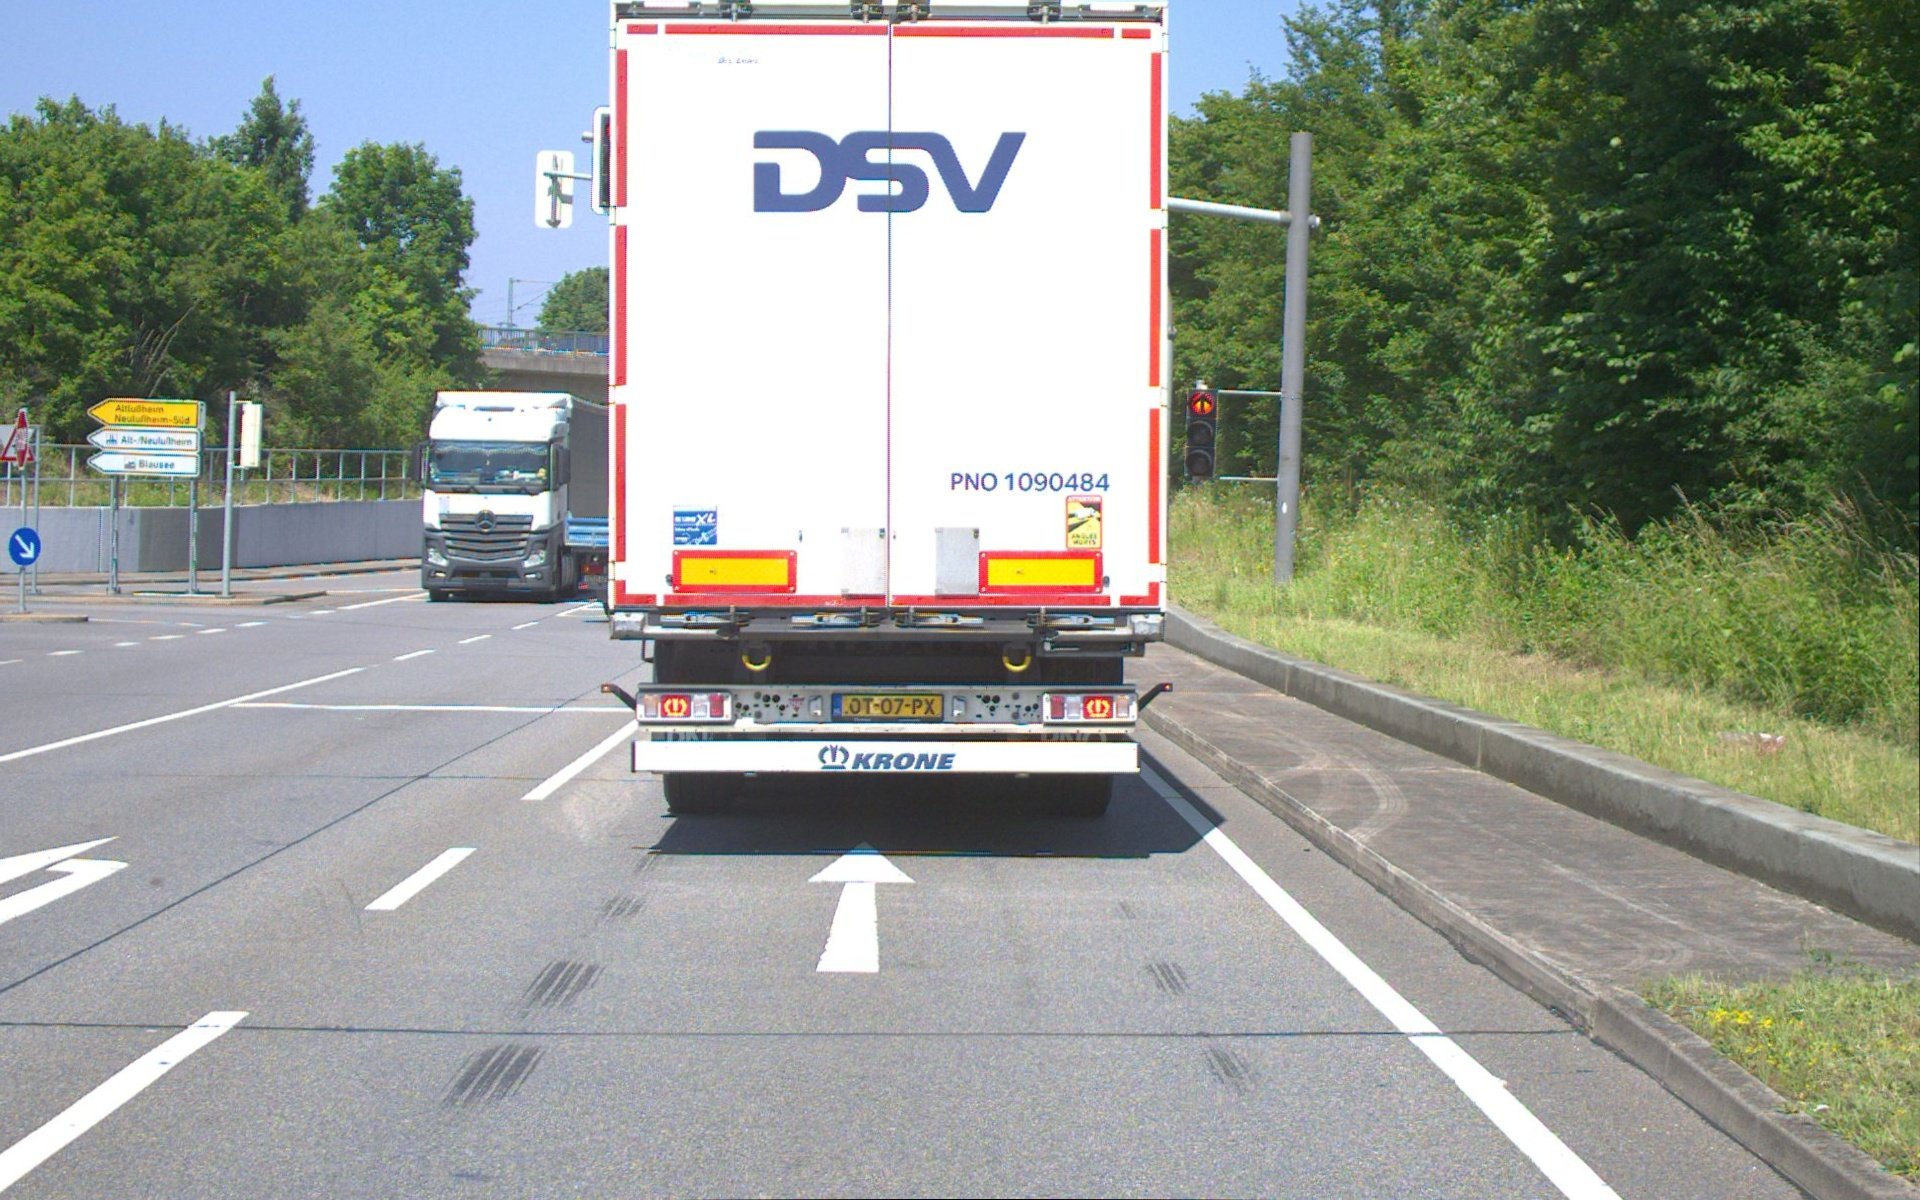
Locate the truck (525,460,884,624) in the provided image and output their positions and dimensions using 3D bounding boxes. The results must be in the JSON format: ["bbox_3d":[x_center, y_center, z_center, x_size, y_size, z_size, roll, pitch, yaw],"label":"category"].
[{"bbox_3d":[-4.056,-0.954,56.063,2.710,2.490,6.421,2,2,29],"label":"truck"}]

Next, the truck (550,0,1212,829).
[{"bbox_3d":[-0.432,-1.371,20.416,2.950,4.553,9.863,1,1,-1],"label":"truck"}]

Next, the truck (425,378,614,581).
[{"bbox_3d":[-8.799,-2.443,70.078,2.353,3.737,12.627,1,2,-1],"label":"truck"}]
